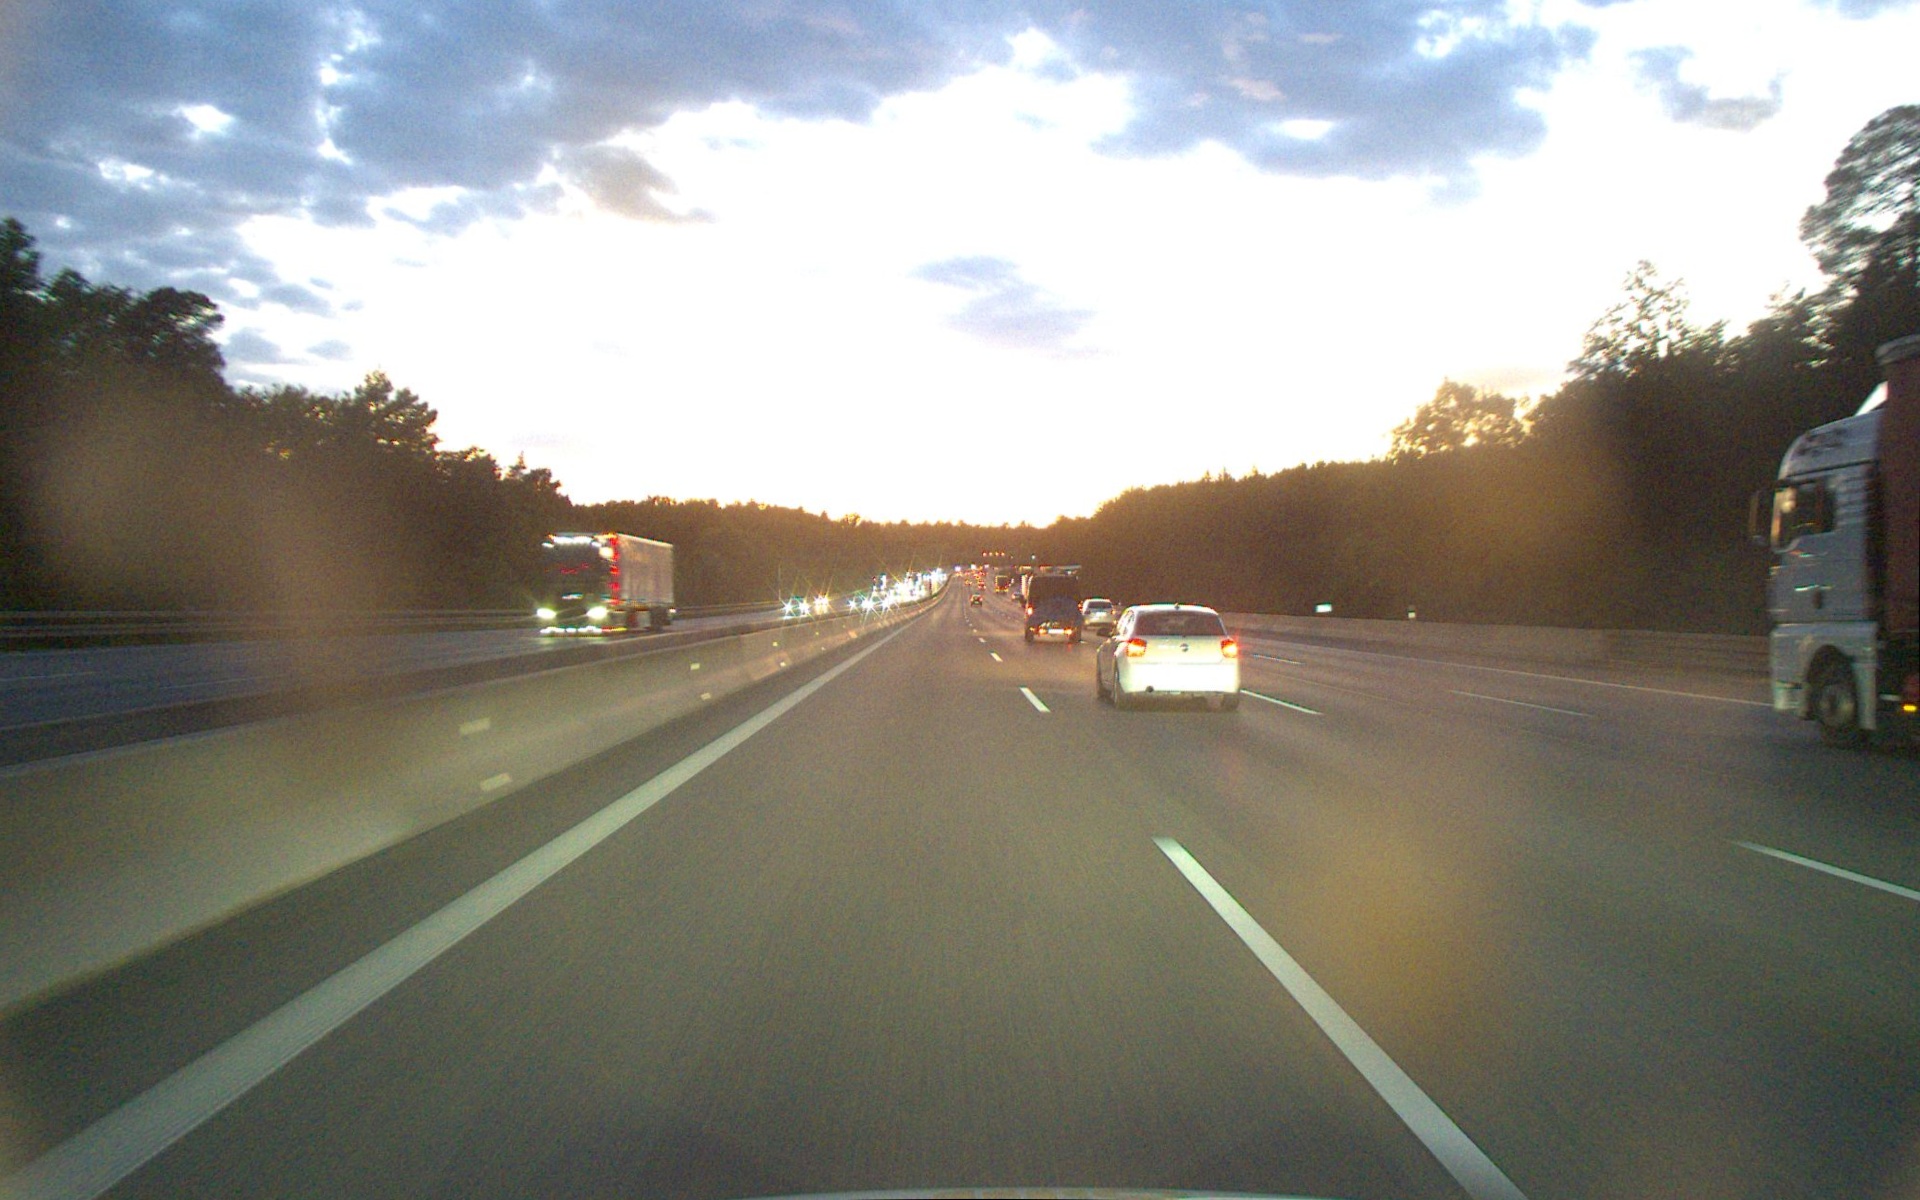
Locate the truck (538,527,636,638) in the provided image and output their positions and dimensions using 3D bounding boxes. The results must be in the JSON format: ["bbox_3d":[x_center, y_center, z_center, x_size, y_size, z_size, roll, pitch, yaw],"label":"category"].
[{"bbox_3d":[-14.857,-0.668,66.361,2.596,4.204,6.522,0,0,-2],"label":"truck"}]

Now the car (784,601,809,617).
[{"bbox_3d":[-14.844,0.818,150.256,1.873,1.449,4.746,0,0,-1],"label":"car"}]

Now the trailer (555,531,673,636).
[{"bbox_3d":[-15.047,-0.665,73.174,2.596,4.204,14.322,0,0,-2],"label":"trailer"}]

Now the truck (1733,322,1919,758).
[{"bbox_3d":[10.600,-0.570,14.201,2.826,4.172,10.830,0,0,0],"label":"truck"}]

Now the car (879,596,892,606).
[{"bbox_3d":[-11.164,0.135,249.234,1.799,1.463,4.000,0,0,0],"label":"car"}]

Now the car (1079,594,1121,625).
[{"bbox_3d":[7.182,0.465,84.954,1.966,1.565,4.001,0,0,2],"label":"car"}]

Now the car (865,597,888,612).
[{"bbox_3d":[-8.060,0.404,160.097,1.953,1.449,5.145,0,0,0],"label":"car"}]

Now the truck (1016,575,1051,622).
[{"bbox_3d":[9.512,-0.155,215.074,4.064,5.959,14.296,0,0,0],"label":"truck"}]

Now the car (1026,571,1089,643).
[{"bbox_3d":[3.445,0.243,59.556,2.121,2.461,5.565,0,0,2],"label":"car"}]

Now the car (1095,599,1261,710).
[{"bbox_3d":[3.079,0.773,24.061,1.822,1.467,3.718,1,-1,-2],"label":"car"}]

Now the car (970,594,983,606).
[{"bbox_3d":[2.322,0.030,230.081,1.798,1.598,4.001,0,0,2],"label":"car"}]

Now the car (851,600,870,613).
[{"bbox_3d":[-11.188,0.720,186.044,1.811,1.438,4.790,0,0,-1],"label":"car"}]
